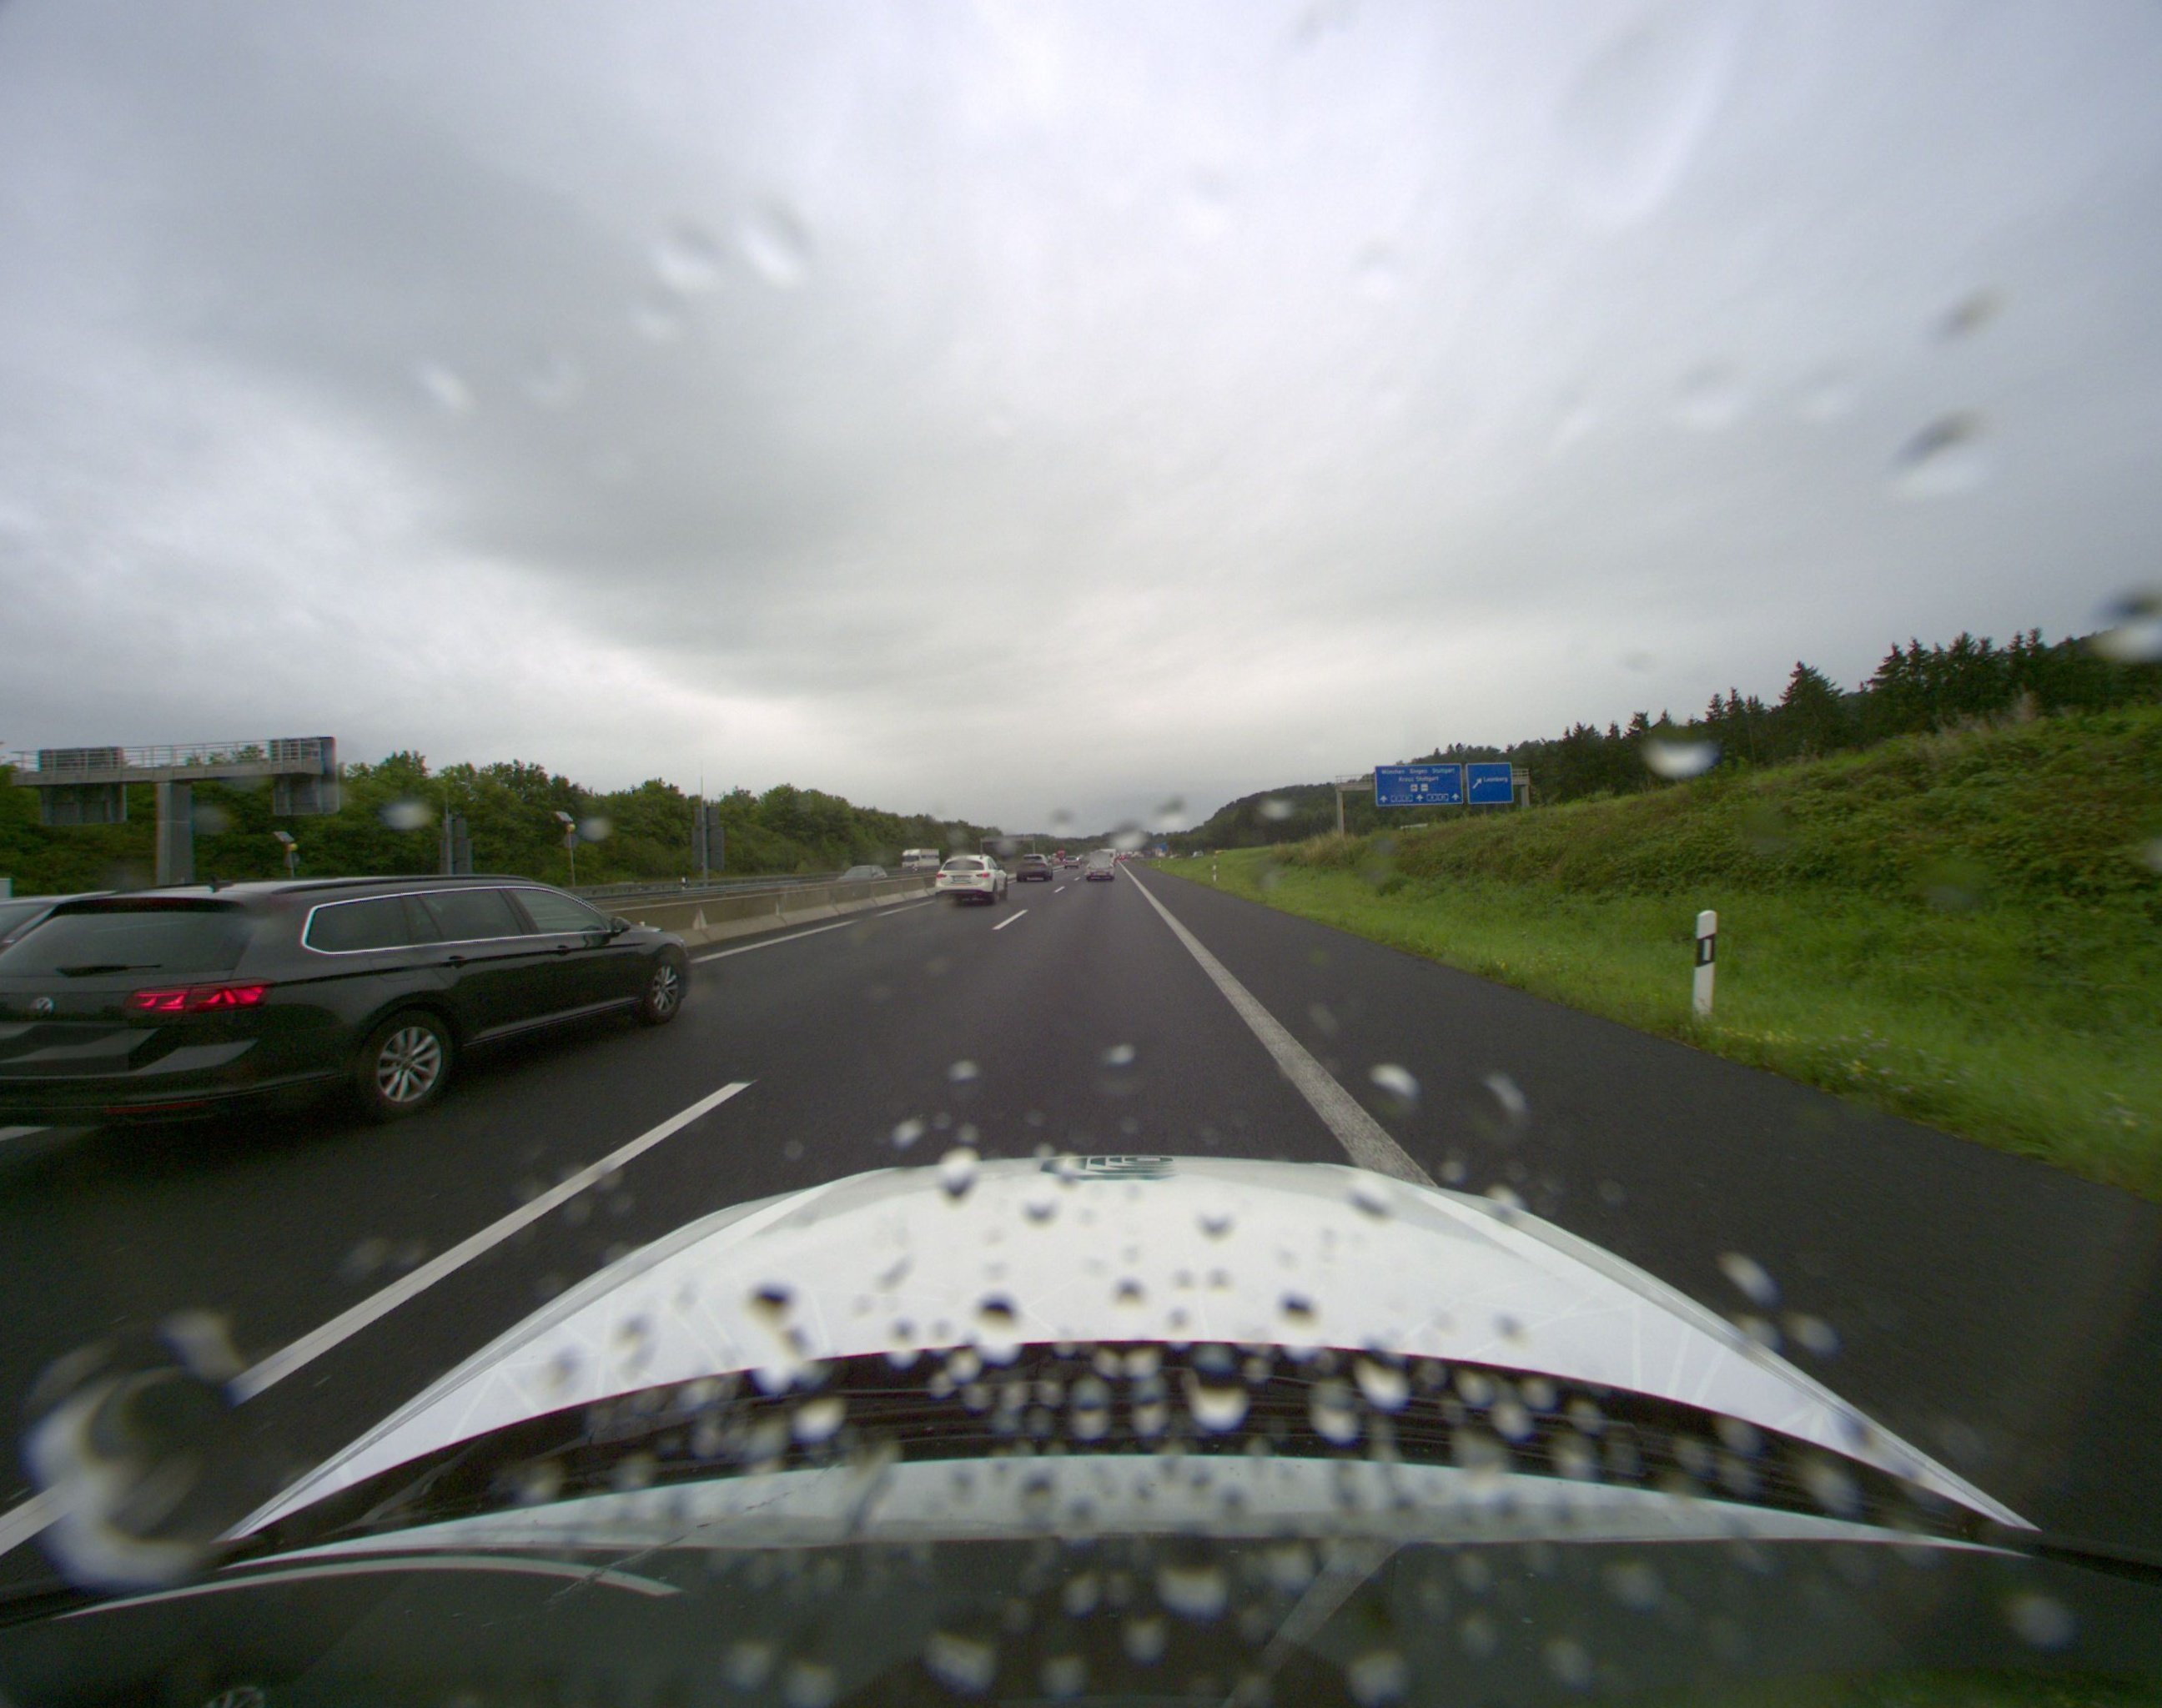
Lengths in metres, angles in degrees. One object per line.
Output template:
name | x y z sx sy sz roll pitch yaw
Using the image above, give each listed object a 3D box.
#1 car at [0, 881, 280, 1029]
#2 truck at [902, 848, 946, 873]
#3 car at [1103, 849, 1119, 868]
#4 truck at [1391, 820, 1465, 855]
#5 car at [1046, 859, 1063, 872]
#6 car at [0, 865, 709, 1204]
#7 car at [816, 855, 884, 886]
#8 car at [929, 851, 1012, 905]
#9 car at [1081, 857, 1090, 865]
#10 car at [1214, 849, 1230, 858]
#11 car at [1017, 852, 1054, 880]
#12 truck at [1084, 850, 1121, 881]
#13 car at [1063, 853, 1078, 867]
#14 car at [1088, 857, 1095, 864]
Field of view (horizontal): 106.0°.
car | -12.615 1.179 9.833 1.791 1.508 4.002 -2 0 2
truck | -26.343 1.079 138.039 3.165 3.808 17.147 -2 0 3
car | 4.405 0.654 120.803 2.322 2.725 6.543 -1 0 2
truck | 37.569 -1.703 88.556 3.821 3.659 8.253 0 0 -7
car | -3.460 1.531 107.035 1.812 1.662 4.019 -2 0 2
car | -4.878 0.848 6.066 1.780 1.459 4.806 -1 0 3
car | -11.295 0.788 40.188 1.848 1.391 4.448 -2 0 3
car | -3.670 0.762 27.832 2.040 1.670 4.543 -1 0 2
car | 0.855 1.351 155.117 1.639 1.574 4.002 0 0 2
car | 25.777 -0.043 149.182 1.989 1.552 3.996 0 0 -3
car | -2.896 0.714 52.616 1.968 1.703 4.804 -1 0 2
truck | 1.395 0.706 52.636 2.234 1.839 6.586 -1 0 1
car | -1.328 0.801 107.209 1.732 1.794 4.002 -1 0 2
car | 2.466 1.570 196.014 1.639 1.574 4.002 0 0 2
